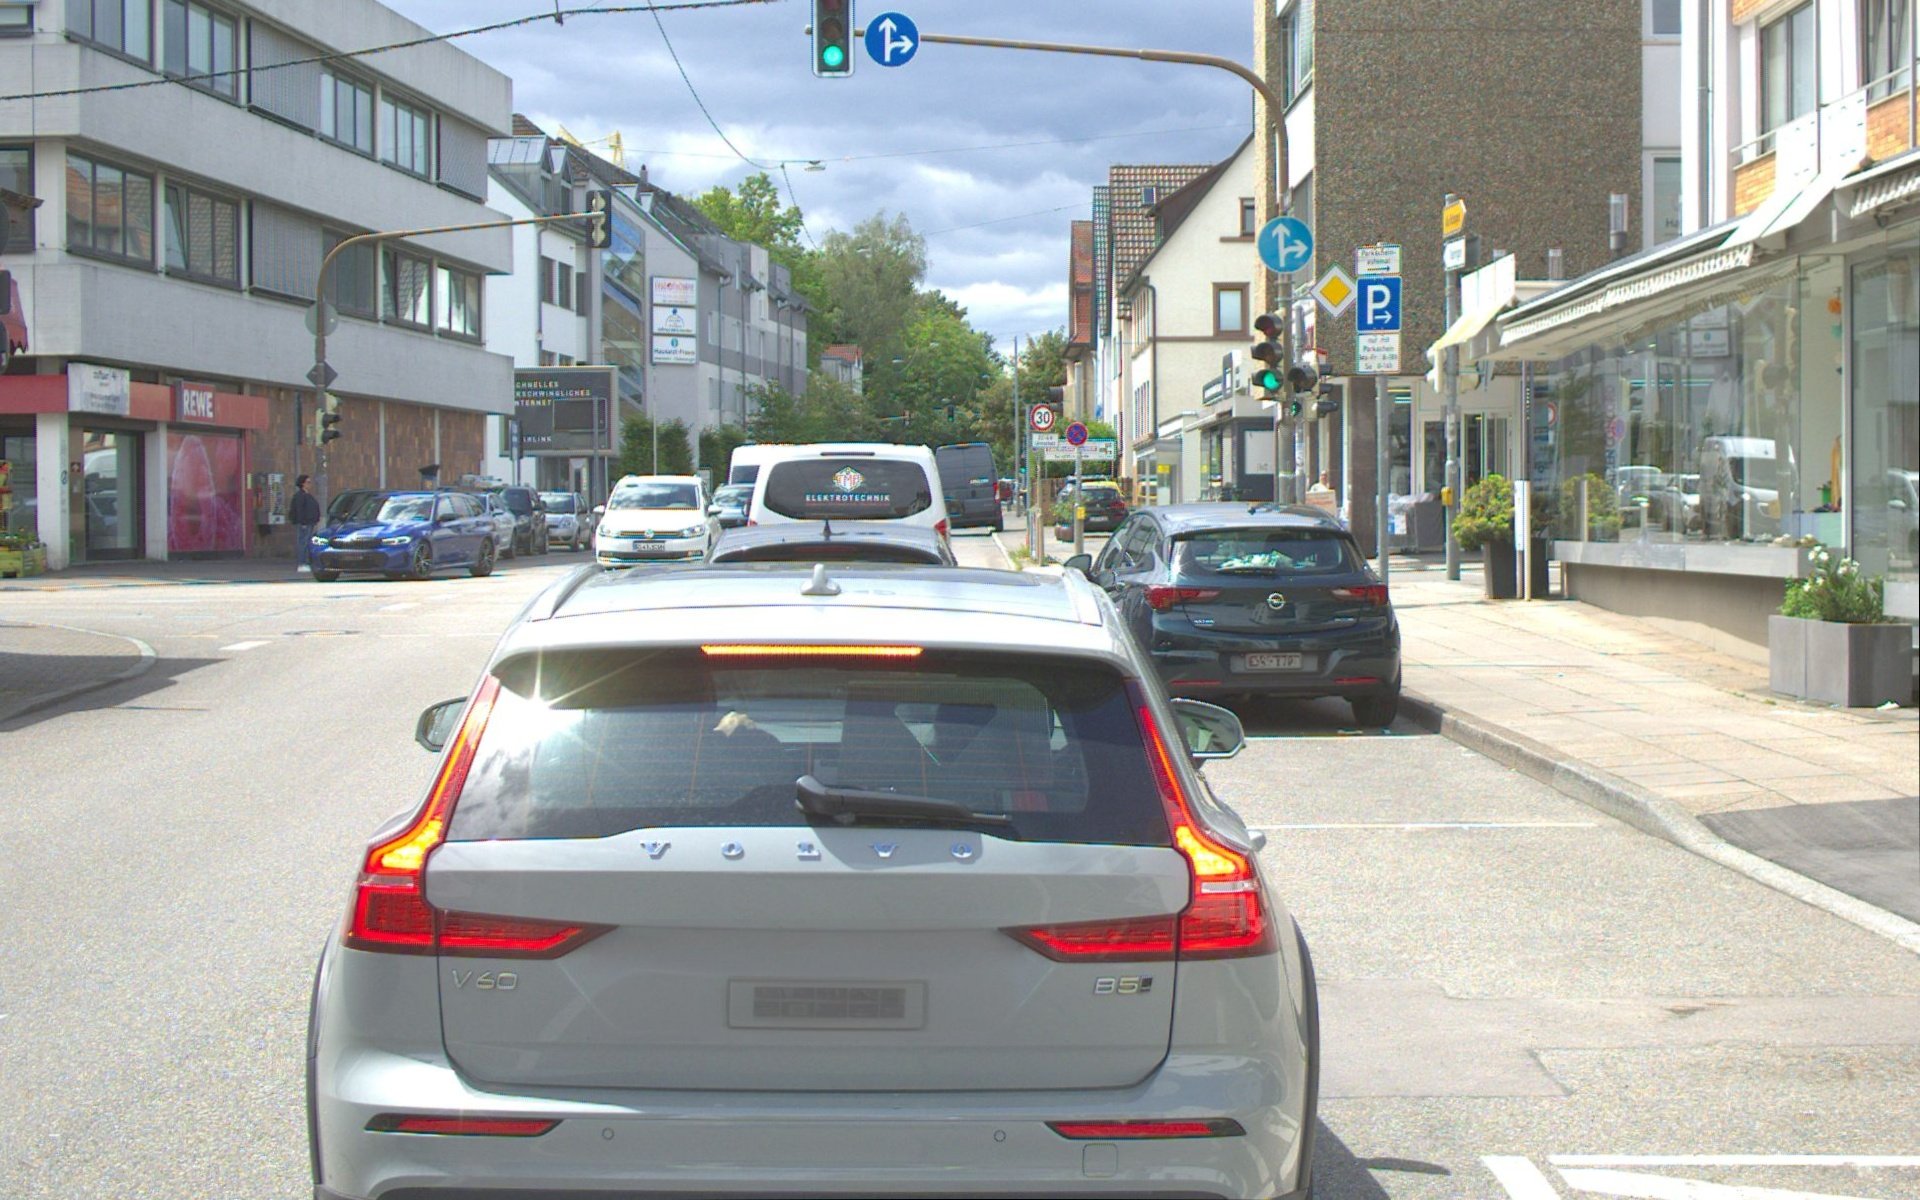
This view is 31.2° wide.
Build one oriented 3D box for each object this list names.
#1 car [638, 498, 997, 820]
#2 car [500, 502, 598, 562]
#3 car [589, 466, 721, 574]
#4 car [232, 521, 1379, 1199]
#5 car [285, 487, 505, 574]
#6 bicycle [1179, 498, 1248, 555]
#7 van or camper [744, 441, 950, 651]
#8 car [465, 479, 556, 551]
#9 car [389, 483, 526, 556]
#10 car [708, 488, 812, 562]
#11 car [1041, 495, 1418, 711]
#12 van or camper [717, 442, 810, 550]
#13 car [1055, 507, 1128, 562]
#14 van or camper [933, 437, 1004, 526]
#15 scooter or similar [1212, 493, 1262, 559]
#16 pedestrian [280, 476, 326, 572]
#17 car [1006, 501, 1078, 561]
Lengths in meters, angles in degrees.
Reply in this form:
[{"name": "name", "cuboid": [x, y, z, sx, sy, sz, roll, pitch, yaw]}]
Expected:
[{"name": "car", "cuboid": [-0.681, 0.229, 17.736, 1.650, 1.477, 3.608, 1, 1, -1]}, {"name": "car", "cuboid": [-9.990, -1.666, 83.827, 1.755, 1.421, 3.862, 0, 1, 2]}, {"name": "car", "cuboid": [-4.893, -1.320, 55.612, 1.775, 1.607, 4.120, -1, 3, -1]}, {"name": "car", "cuboid": [-0.270, 0.584, 7.514, 1.836, 1.481, 4.000, 0, 1, -1]}, {"name": "car", "cuboid": [-9.194, -1.154, 56.307, 1.995, 1.333, 4.354, 0, 2, 13]}, {"name": "bicycle", "cuboid": [5.166, -1.517, 70.231, 0.554, 1.140, 2.301, -2, 2, -18]}, {"name": "van or camper", "cuboid": [-1.021, -0.568, 32.502, 1.819, 1.828, 4.001, 0, 3, -1]}, {"name": "car", "cuboid": [-10.145, -1.937, 77.687, 1.607, 1.537, 2.944, 2, 2, 1]}, {"name": "car", "cuboid": [-10.459, -1.703, 71.793, 1.904, 1.438, 4.443, 1, 2, 4]}, {"name": "car", "cuboid": [-4.168, -1.571, 72.120, 1.791, 1.506, 3.845, 0, 1, 2]}, {"name": "car", "cuboid": [1.750, -0.019, 23.512, 1.807, 1.342, 3.719, -1, 1, -8]}, {"name": "van or camper", "cuboid": [-4.811, -2.608, 84.881, 2.148, 2.547, 5.439, -1, 3, -2]}, {"name": "car", "cuboid": [3.633, -1.809, 95.247, 1.710, 1.459, 4.000, 1, 0, -2]}, {"name": "van or camper", "cuboid": [0.288, -3.680, 107.007, 2.123, 2.677, 4.781, -1, 2, 1]}, {"name": "scooter or similar", "cuboid": [5.386, -1.443, 66.870, 0.340, 1.249, 1.246, -3, 1, -26]}, {"name": "pedestrian", "cuboid": [-11.283, -1.316, 59.062, 0.619, 1.635, 0.660, -1, 2, 1]}, {"name": "car", "cuboid": [1.778, -1.503, 74.833, 1.438, 1.283, 3.248, 0, 1, -1]}]
